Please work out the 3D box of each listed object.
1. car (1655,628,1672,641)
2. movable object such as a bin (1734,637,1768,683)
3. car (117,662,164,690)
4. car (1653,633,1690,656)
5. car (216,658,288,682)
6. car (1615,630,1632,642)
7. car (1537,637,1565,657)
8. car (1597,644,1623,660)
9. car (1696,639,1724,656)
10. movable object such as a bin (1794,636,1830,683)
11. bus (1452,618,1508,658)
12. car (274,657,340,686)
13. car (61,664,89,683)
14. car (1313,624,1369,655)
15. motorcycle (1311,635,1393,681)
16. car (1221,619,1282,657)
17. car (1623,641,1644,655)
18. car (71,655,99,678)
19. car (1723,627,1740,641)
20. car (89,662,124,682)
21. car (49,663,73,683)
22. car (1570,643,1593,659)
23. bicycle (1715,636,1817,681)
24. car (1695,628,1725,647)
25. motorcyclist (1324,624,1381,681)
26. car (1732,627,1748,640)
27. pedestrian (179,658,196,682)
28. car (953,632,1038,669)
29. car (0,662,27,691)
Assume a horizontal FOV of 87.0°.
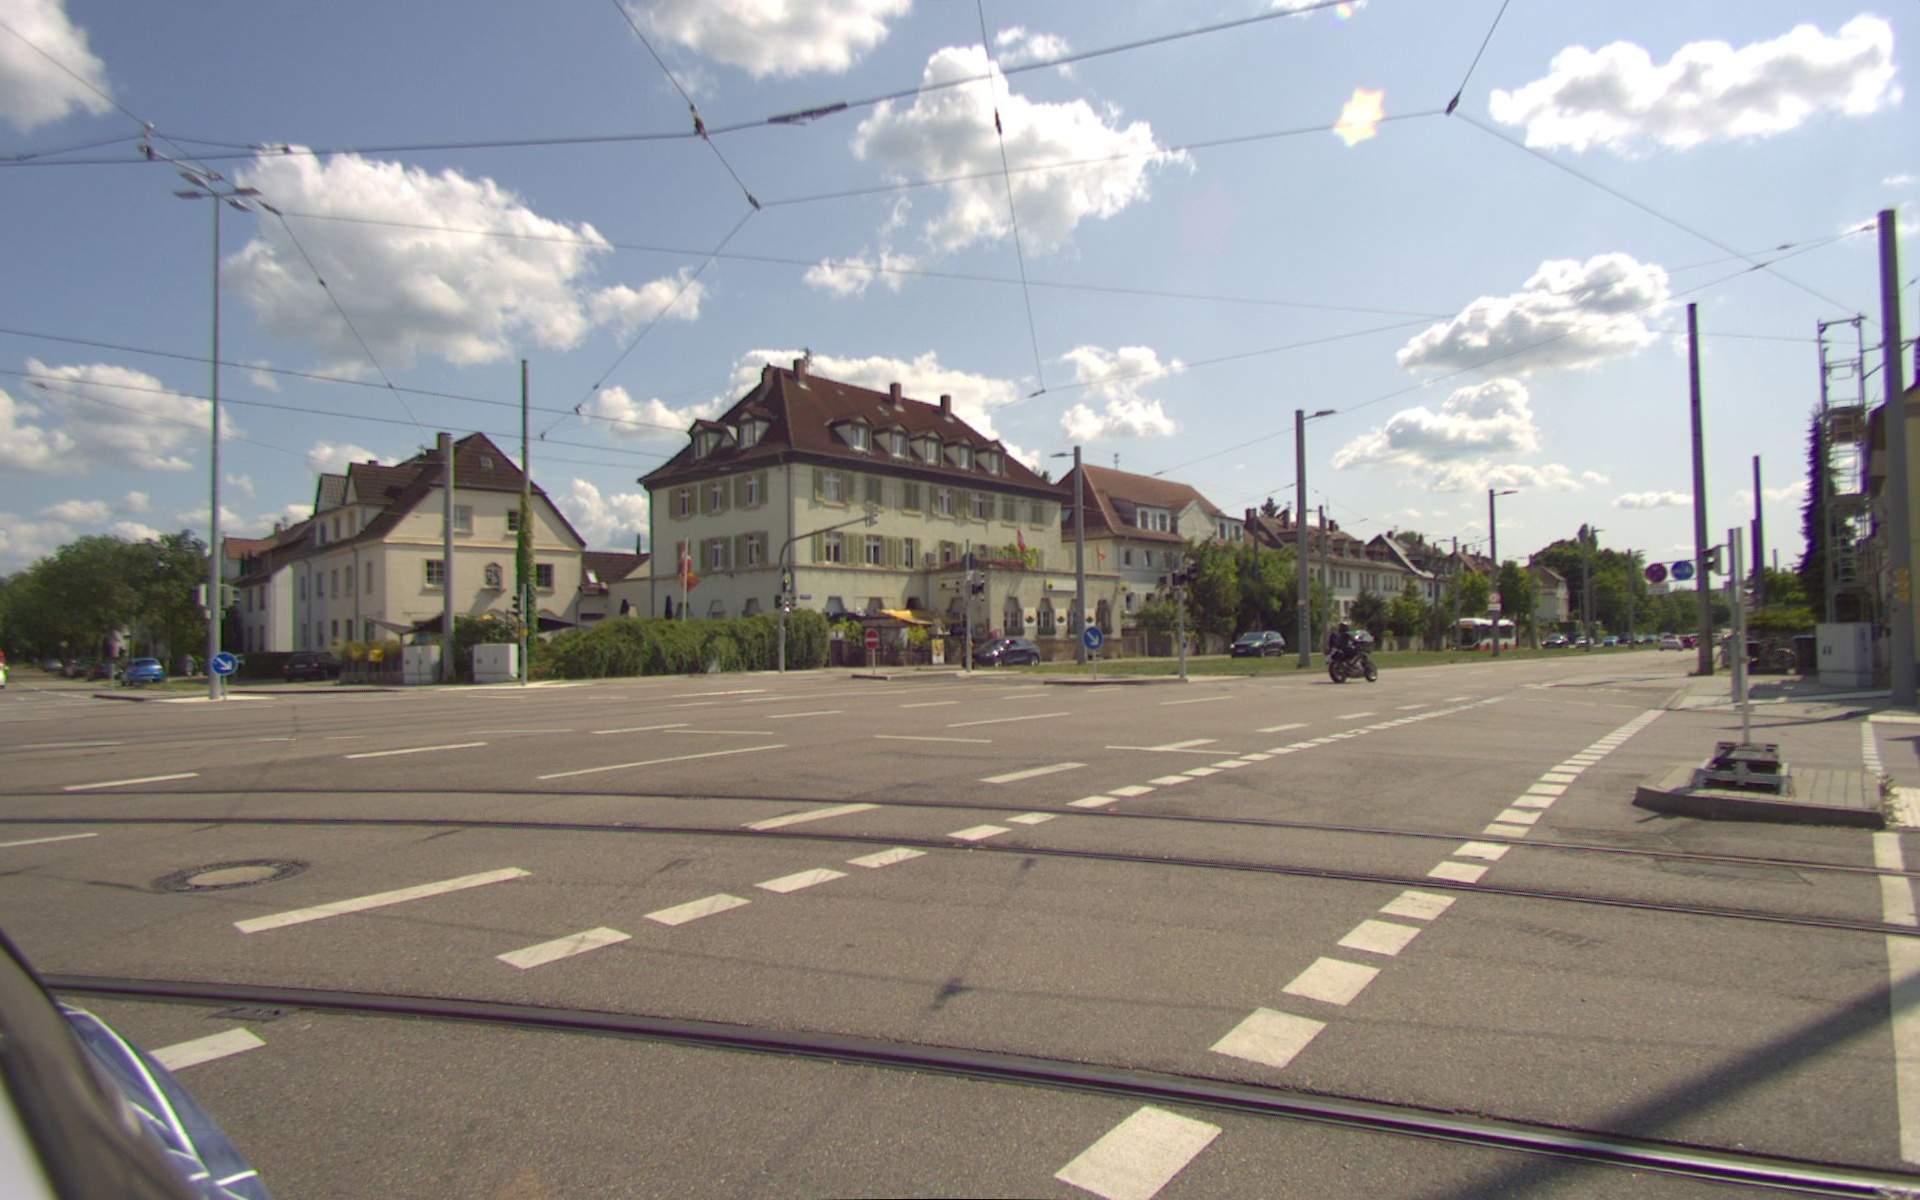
[{"bbox_3d":[119.788,5.877,172.335,1.997,2.029,3.948,-3,-3,38],"label":"car"},{"bbox_3d":[22.435,1.692,28.711,0.681,1.270,0.674,-3,-3,41],"label":"movable object such as a bin"},{"bbox_3d":[-45.353,4.201,56.003,3.156,1.473,1.686,-4,-4,44],"label":"car"},{"bbox_3d":[65.117,4.045,92.624,3.940,2.029,2.002,2,-4,-44],"label":"car"},{"bbox_3d":[-47.020,4.635,67.226,3.750,1.465,1.713,1,-4,-42],"label":"car"},{"bbox_3d":[109.249,5.903,166.624,1.997,2.029,3.948,-3,-3,38],"label":"car"},{"bbox_3d":[64.275,5.083,110.090,1.998,2.029,3.947,-3,-3,39],"label":"car"},{"bbox_3d":[84.907,6.795,132.197,2.000,2.029,3.942,-4,-4,44],"label":"car"},{"bbox_3d":[88.942,5.626,120.034,3.940,2.029,2.002,2,-4,-44],"label":"car"},{"bbox_3d":[23.396,1.632,27.785,0.681,1.270,0.674,-3,-3,41],"label":"movable object such as a bin"},{"bbox_3d":[52.001,3.769,100.980,2.398,3.806,11.863,-3,-3,39],"label":"bus"},{"bbox_3d":[-33.879,3.702,52.636,1.732,1.397,4.113,0,-3,-15],"label":"car"},{"bbox_3d":[-72.195,5.975,82.596,1.600,1.436,3.006,0,-3,-40],"label":"car"},{"bbox_3d":[25.847,2.669,68.579,3.940,2.029,2.002,1,-3,-44],"label":"car"},{"bbox_3d":[10.344,1.503,26.671,2.320,1.136,0.846,1,-3,-36],"label":"motorcycle"},{"bbox_3d":[16.433,2.132,57.043,1.904,2.029,3.663,-3,-3,41],"label":"car"},{"bbox_3d":[98.476,7.010,147.943,1.999,2.029,3.946,-4,-4,40],"label":"car"},{"bbox_3d":[-67.801,5.129,78.372,1.539,1.667,3.577,1,-4,-42],"label":"car"},{"bbox_3d":[117.824,5.212,154.548,1.997,2.029,3.948,-3,-3,38],"label":"car"},{"bbox_3d":[-57.962,4.888,68.715,1.684,1.306,3.922,1,-4,-42],"label":"car"},{"bbox_3d":[-78.824,6.417,88.734,1.539,1.667,3.254,1,-4,-42],"label":"car"},{"bbox_3d":[86.288,7.075,140.420,1.999,2.029,3.945,-4,-4,41],"label":"car"},{"bbox_3d":[26.027,1.884,32.729,0.764,1.366,2.459,0,-3,-44],"label":"bicycle"},{"bbox_3d":[82.568,4.172,111.391,3.940,2.029,2.002,2,-4,-44],"label":"car"},{"bbox_3d":[10.302,1.382,26.576,1.082,1.409,0.827,-1,-5,-35],"label":"motorcyclist"},{"bbox_3d":[129.543,5.528,168.023,1.997,2.029,3.948,-3,-3,38],"label":"car"},{"bbox_3d":[-50.242,4.552,65.787,0.613,1.547,0.628,-2,-3,20],"label":"pedestrian"},{"bbox_3d":[1.624,2.226,45.079,1.746,1.596,3.872,-3,-3,40],"label":"car"},{"bbox_3d":[-50.618,4.074,53.583,1.685,1.473,3.156,2,-4,-45],"label":"car"}]
